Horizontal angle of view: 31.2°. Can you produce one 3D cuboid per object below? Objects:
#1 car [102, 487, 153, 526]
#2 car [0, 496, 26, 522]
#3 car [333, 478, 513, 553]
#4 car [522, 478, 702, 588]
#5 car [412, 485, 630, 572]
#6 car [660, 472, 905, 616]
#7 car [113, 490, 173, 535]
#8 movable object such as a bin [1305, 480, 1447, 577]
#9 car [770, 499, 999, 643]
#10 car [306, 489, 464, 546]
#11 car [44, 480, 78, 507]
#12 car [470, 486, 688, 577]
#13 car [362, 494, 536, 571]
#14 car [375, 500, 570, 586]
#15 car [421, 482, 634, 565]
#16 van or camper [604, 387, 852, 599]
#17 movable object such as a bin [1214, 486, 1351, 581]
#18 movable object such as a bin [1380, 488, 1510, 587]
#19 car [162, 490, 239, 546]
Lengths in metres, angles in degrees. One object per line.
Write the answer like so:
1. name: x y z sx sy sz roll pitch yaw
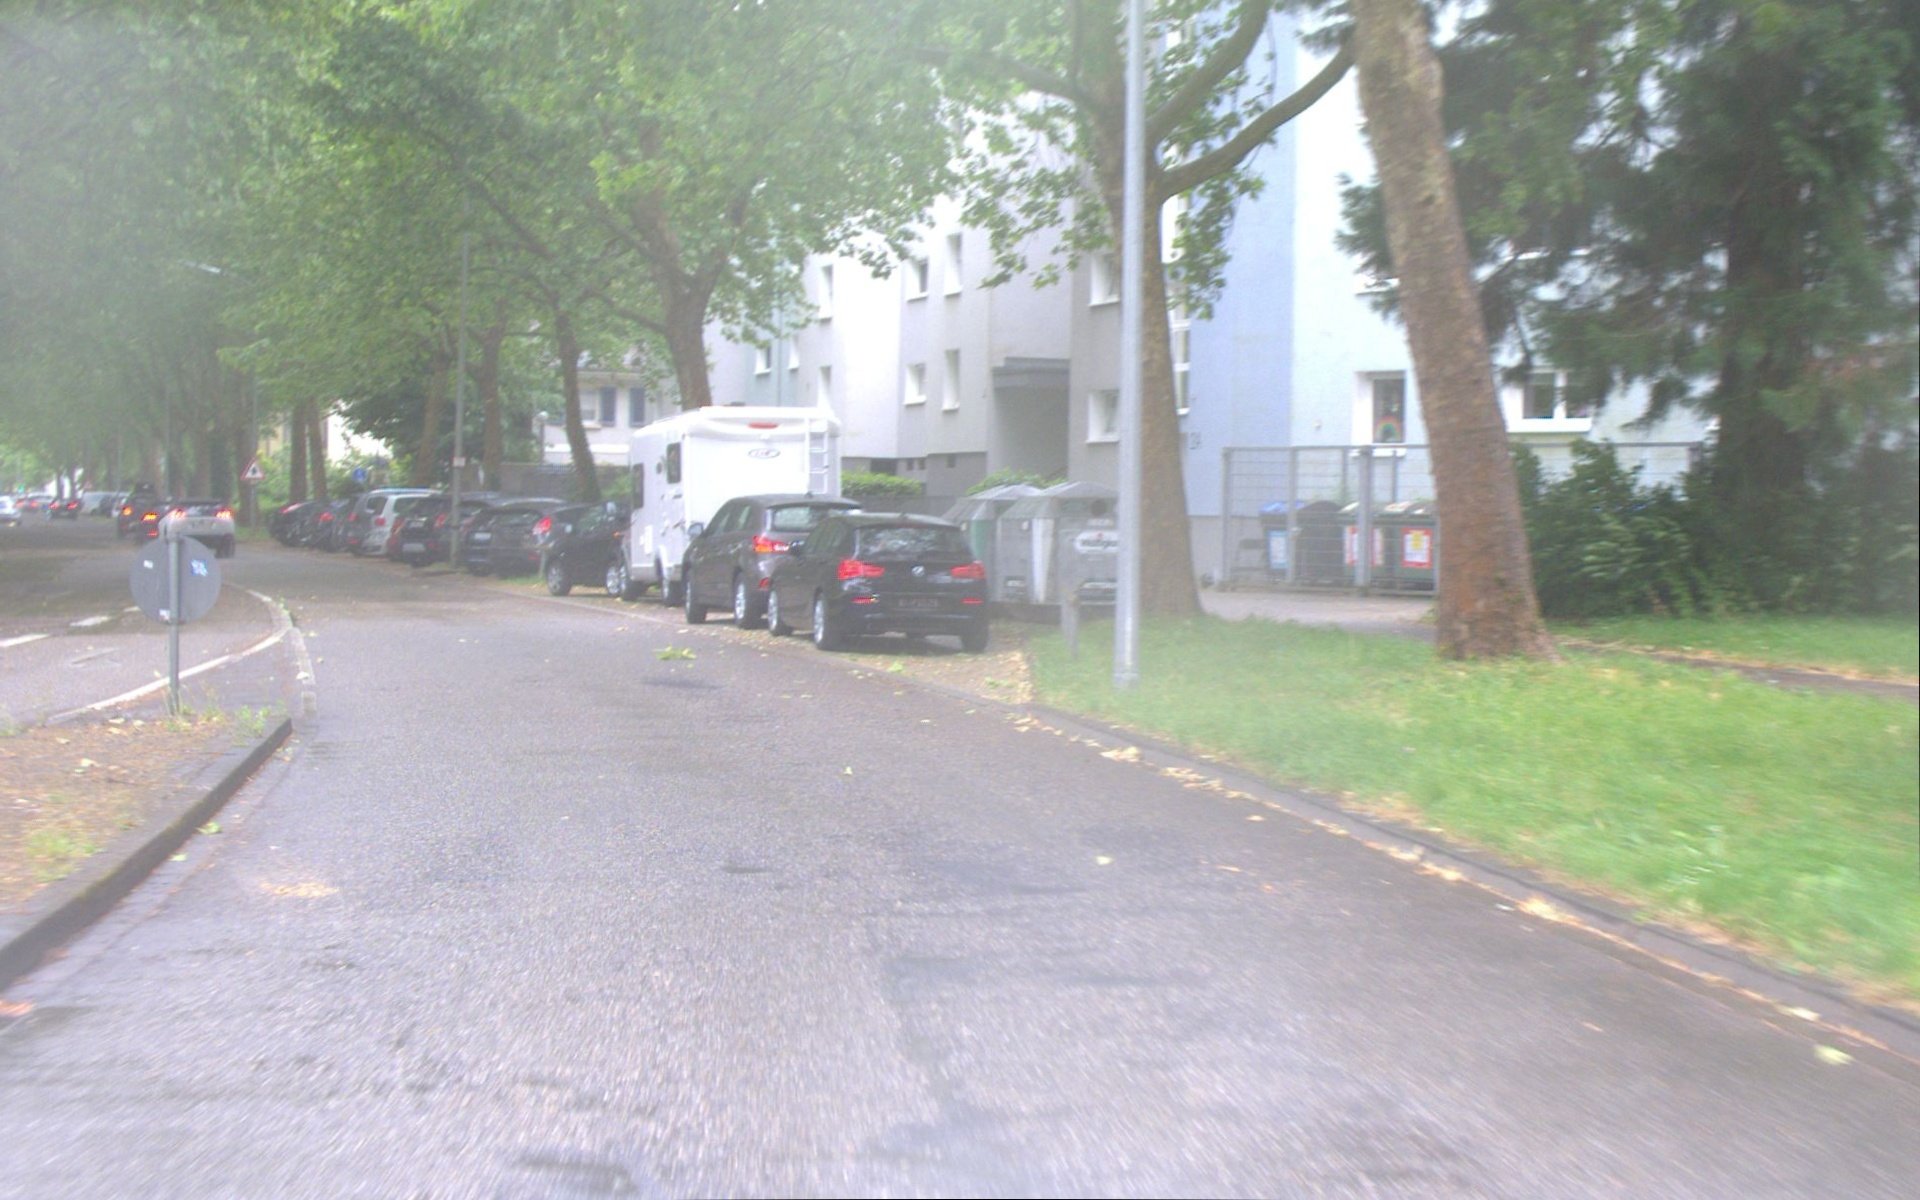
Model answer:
1. car: -31.353 -3.521 129.417 1.705 1.406 3.646 -1 3 -16
2. car: -53.282 -5.111 192.925 1.678 1.384 4.551 0 2 -16
3. car: -13.766 -2.158 88.100 4.336 1.756 1.819 2 2 -16
4. car: -5.589 -1.091 55.030 1.687 1.647 2.946 1 2 -32
5. car: -8.685 -1.411 68.139 1.802 1.596 3.989 3 2 44
6. car: -2.236 -0.670 42.041 1.915 1.615 4.455 2 0 -17
7. car: -26.662 -2.859 112.131 1.705 1.406 3.646 -1 3 -16
8. movable object such as a bin: 6.422 -1.107 53.168 1.213 1.427 1.863 1 2 -34
9. car: -0.863 -0.349 36.690 1.548 1.385 4.151 2 2 -14
10. car: -15.838 -2.281 94.664 4.034 1.436 1.686 -2 3 -19
11. car: -49.240 -5.825 188.236 1.705 1.406 3.646 -1 3 -16
12. car: -7.164 -1.282 64.803 1.802 1.596 3.759 3 2 44
13. car: -12.592 -1.667 84.651 3.985 1.721 1.802 2 2 -15
14. car: -10.620 -1.274 74.977 3.857 1.691 1.837 -3 5 -44
15. car: -9.087 -1.603 72.380 3.989 1.596 2.034 0 2 -43
16. van or camper: -3.470 -1.537 49.780 2.318 2.797 6.866 1 1 -14
17. movable object such as a bin: 5.106 -1.060 54.552 1.213 1.427 1.863 1 2 -34
18. movable object such as a bin: 7.300 -0.944 51.777 1.317 1.427 1.370 1 2 -34
19. car: -19.966 -2.175 90.328 1.705 1.406 3.646 -1 3 -16
